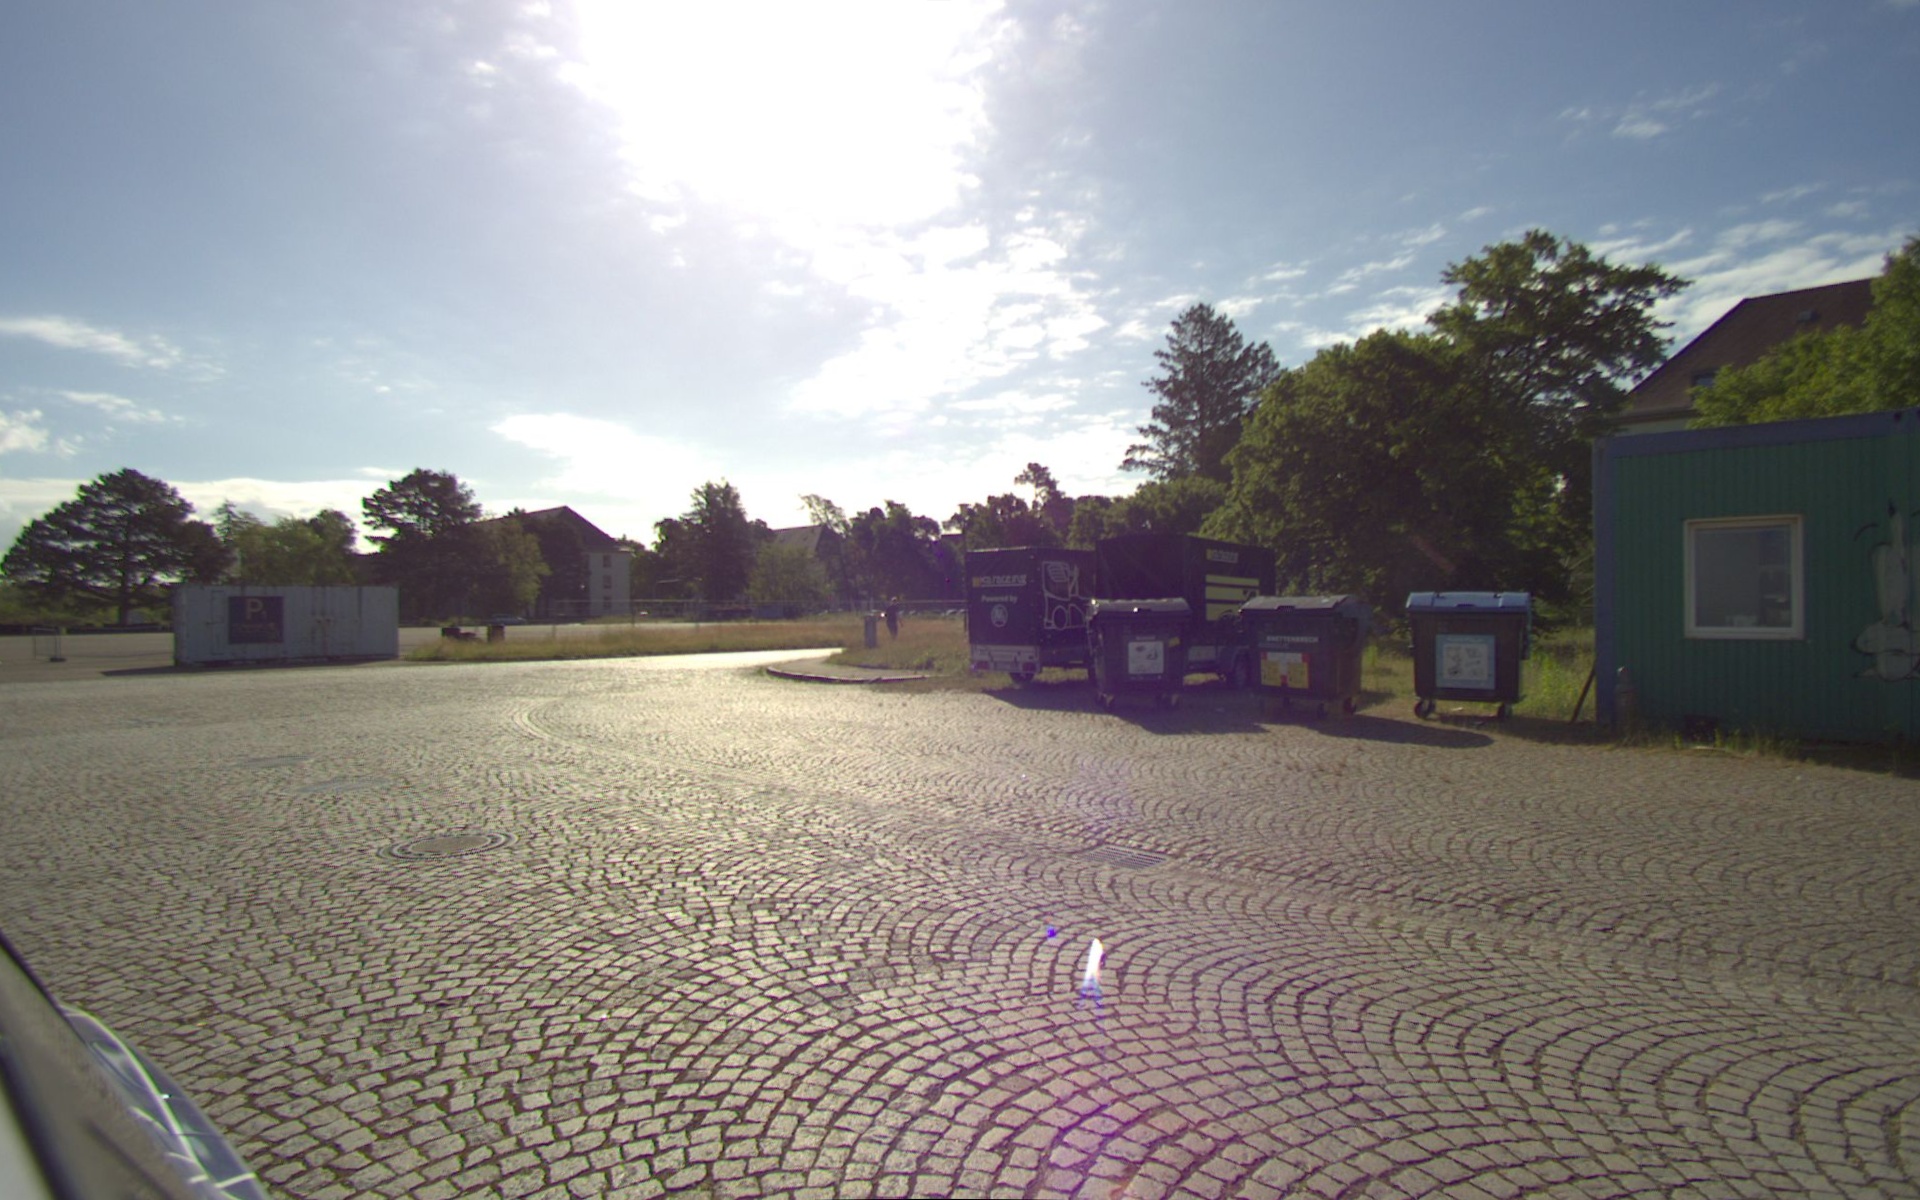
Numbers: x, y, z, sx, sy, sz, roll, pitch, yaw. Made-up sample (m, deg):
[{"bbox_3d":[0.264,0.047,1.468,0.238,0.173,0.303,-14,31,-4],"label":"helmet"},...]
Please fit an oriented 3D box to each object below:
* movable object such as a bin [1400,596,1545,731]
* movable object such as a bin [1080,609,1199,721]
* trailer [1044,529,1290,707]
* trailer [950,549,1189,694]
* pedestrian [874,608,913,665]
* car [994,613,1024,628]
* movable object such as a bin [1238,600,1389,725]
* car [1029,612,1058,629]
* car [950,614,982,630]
[{"bbox_3d":[5.940,0.700,11.724,1.404,1.447,1.077,-1,-1,31],"label":"movable object such as a bin"},{"bbox_3d":[2.326,0.832,13.300,1.345,1.396,1.047,-1,-1,1],"label":"movable object such as a bin"},{"bbox_3d":[3.474,0.230,16.210,1.940,2.409,4.794,-1,0,38],"label":"trailer"},{"bbox_3d":[2.078,0.318,18.196,2.014,2.290,4.405,-2,0,43],"label":"trailer"},{"bbox_3d":[-2.297,1.263,34.983,0.800,1.929,1.126,-1,-1,44],"label":"pedestrian"},{"bbox_3d":[6.486,2.717,133.205,1.999,1.962,3.945,-1,-1,41],"label":"car"},{"bbox_3d":[4.258,0.710,12.226,1.068,1.396,1.370,0,-1,-43],"label":"movable object such as a bin"},{"bbox_3d":[10.598,2.589,128.609,1.995,2.029,3.953,-1,-1,35],"label":"car"},{"bbox_3d":[0.814,3.038,138.552,3.937,2.029,2.003,-1,-4,-40],"label":"car"}]
